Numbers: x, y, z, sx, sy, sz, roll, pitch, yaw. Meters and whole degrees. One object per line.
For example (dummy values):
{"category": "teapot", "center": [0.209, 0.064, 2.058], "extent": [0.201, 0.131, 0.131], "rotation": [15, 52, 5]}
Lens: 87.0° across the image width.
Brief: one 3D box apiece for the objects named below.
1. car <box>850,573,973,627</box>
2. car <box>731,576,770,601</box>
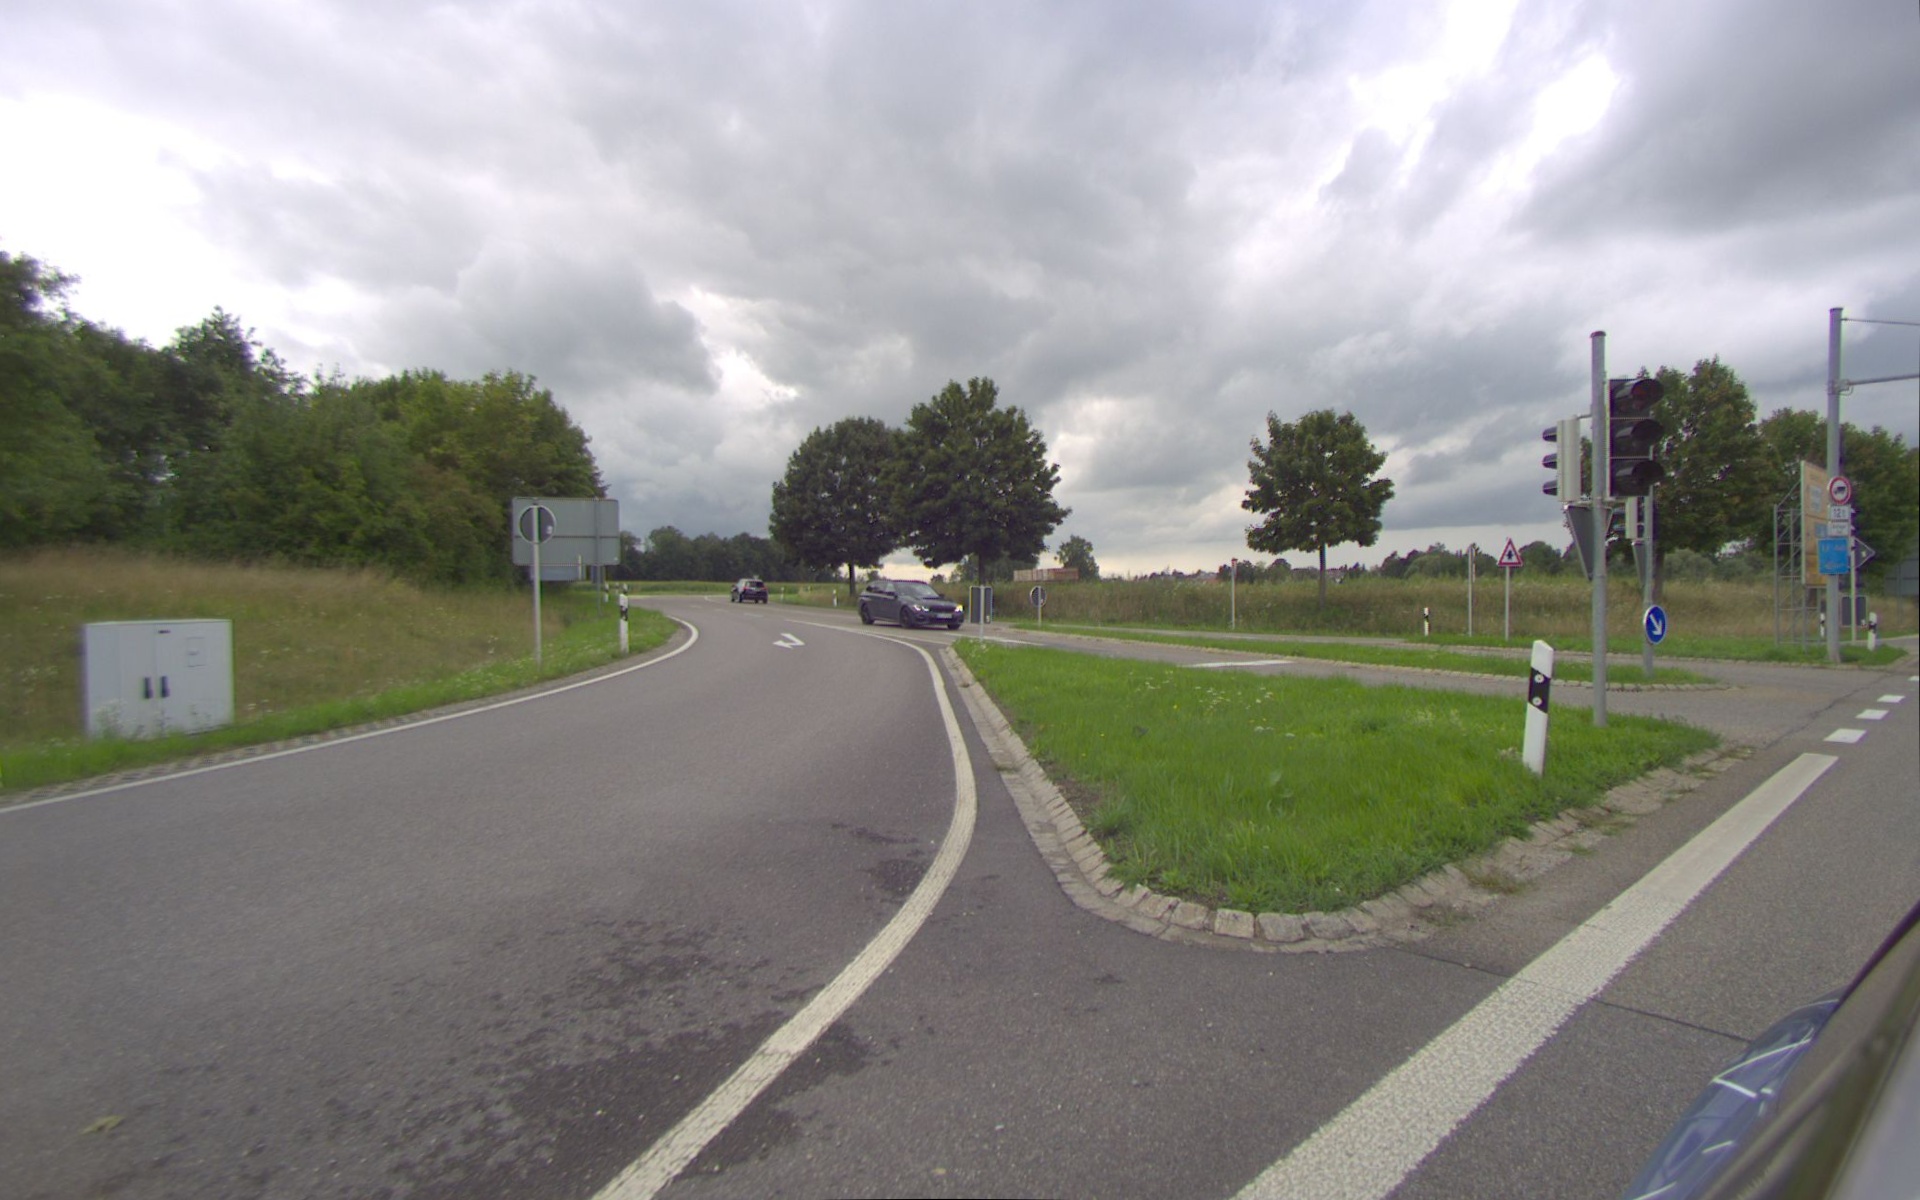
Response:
{"category": "car", "center": [-1.581, -0.045, 31.200], "extent": [1.959, 1.522, 4.673], "rotation": [0, 1, -28]}
{"category": "car", "center": [-13.200, -0.724, 63.643], "extent": [1.775, 1.468, 4.283], "rotation": [0, 2, -20]}
